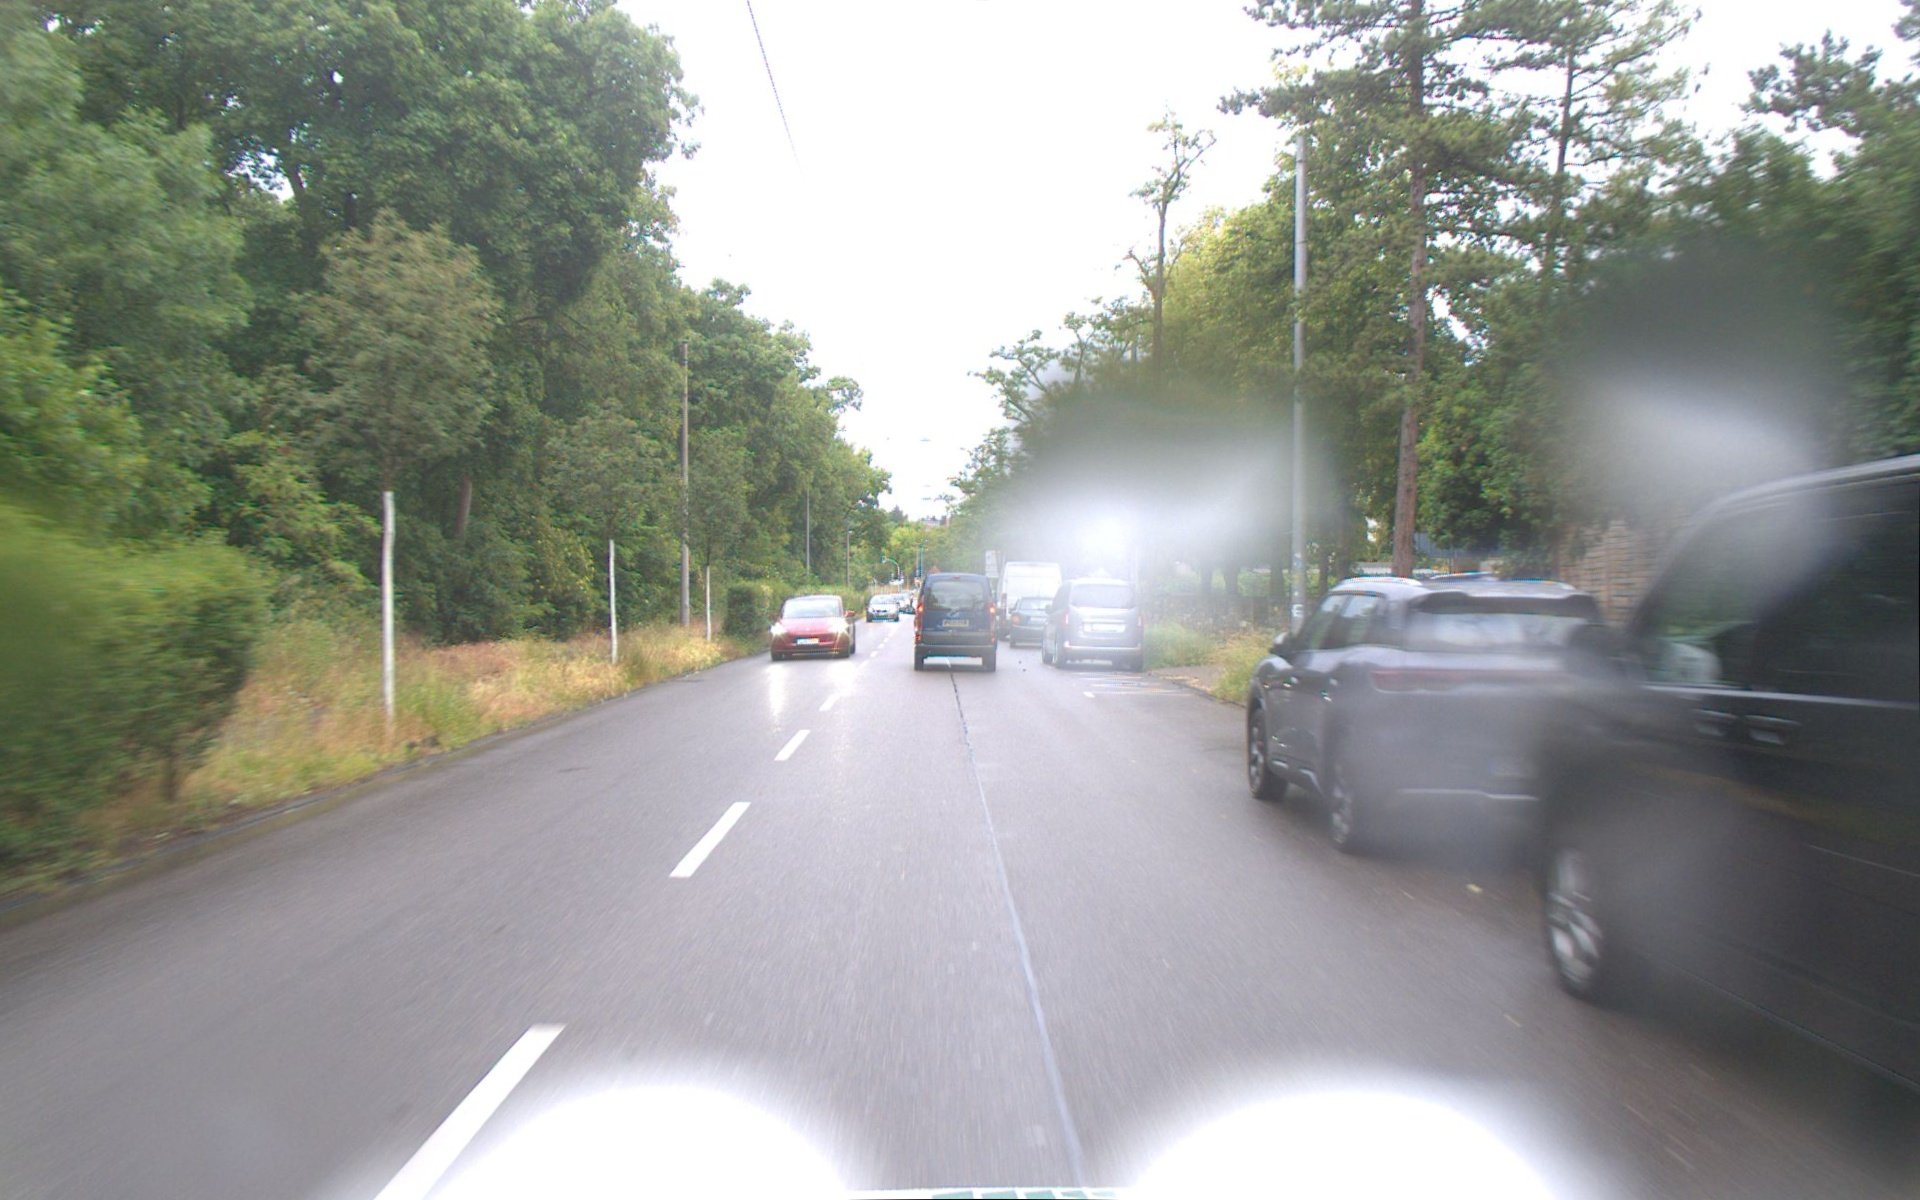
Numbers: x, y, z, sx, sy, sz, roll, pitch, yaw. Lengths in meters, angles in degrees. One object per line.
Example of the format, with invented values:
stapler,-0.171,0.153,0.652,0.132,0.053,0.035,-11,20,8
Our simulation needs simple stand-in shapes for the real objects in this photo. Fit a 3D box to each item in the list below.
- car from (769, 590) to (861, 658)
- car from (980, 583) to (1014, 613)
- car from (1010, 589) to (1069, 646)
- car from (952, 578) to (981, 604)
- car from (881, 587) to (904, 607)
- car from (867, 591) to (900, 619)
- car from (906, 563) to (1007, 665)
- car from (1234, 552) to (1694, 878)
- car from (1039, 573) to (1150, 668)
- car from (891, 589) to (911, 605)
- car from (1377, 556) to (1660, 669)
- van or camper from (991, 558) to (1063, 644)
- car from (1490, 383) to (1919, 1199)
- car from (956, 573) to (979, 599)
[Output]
car,-3.393,0.526,39.338,1.822,1.506,4.156,-1,0,-1
car,1.967,-0.131,88.389,1.686,1.532,4.050,1,1,-1
car,2.271,0.475,47.696,1.592,1.489,3.809,1,1,2
car,0.411,-0.554,101.916,1.586,1.534,3.833,1,1,-3
car,-5.353,-0.241,130.939,1.695,1.518,3.999,-1,1,-1
car,-4.197,0.275,91.389,1.747,1.505,3.966,-1,-1,-1
car,-0.115,0.226,32.713,1.732,1.862,3.539,1,1,-4
car,3.127,0.595,11.255,1.737,1.753,4.326,1,1,-1
car,2.789,0.375,35.046,1.778,1.845,4.281,1,1,-3
car,-5.952,-0.299,166.252,1.818,1.494,4.446,-2,1,-1
car,9.712,0.218,28.995,4.221,1.711,2.000,-3,0,-1
van or camper,2.206,-0.024,55.614,2.036,2.697,5.345,1,1,-1
car,3.351,0.491,4.831,1.953,2.048,4.888,1,1,-1
car,0.713,-1.381,165.821,2.160,2.492,4.728,0,0,-1
